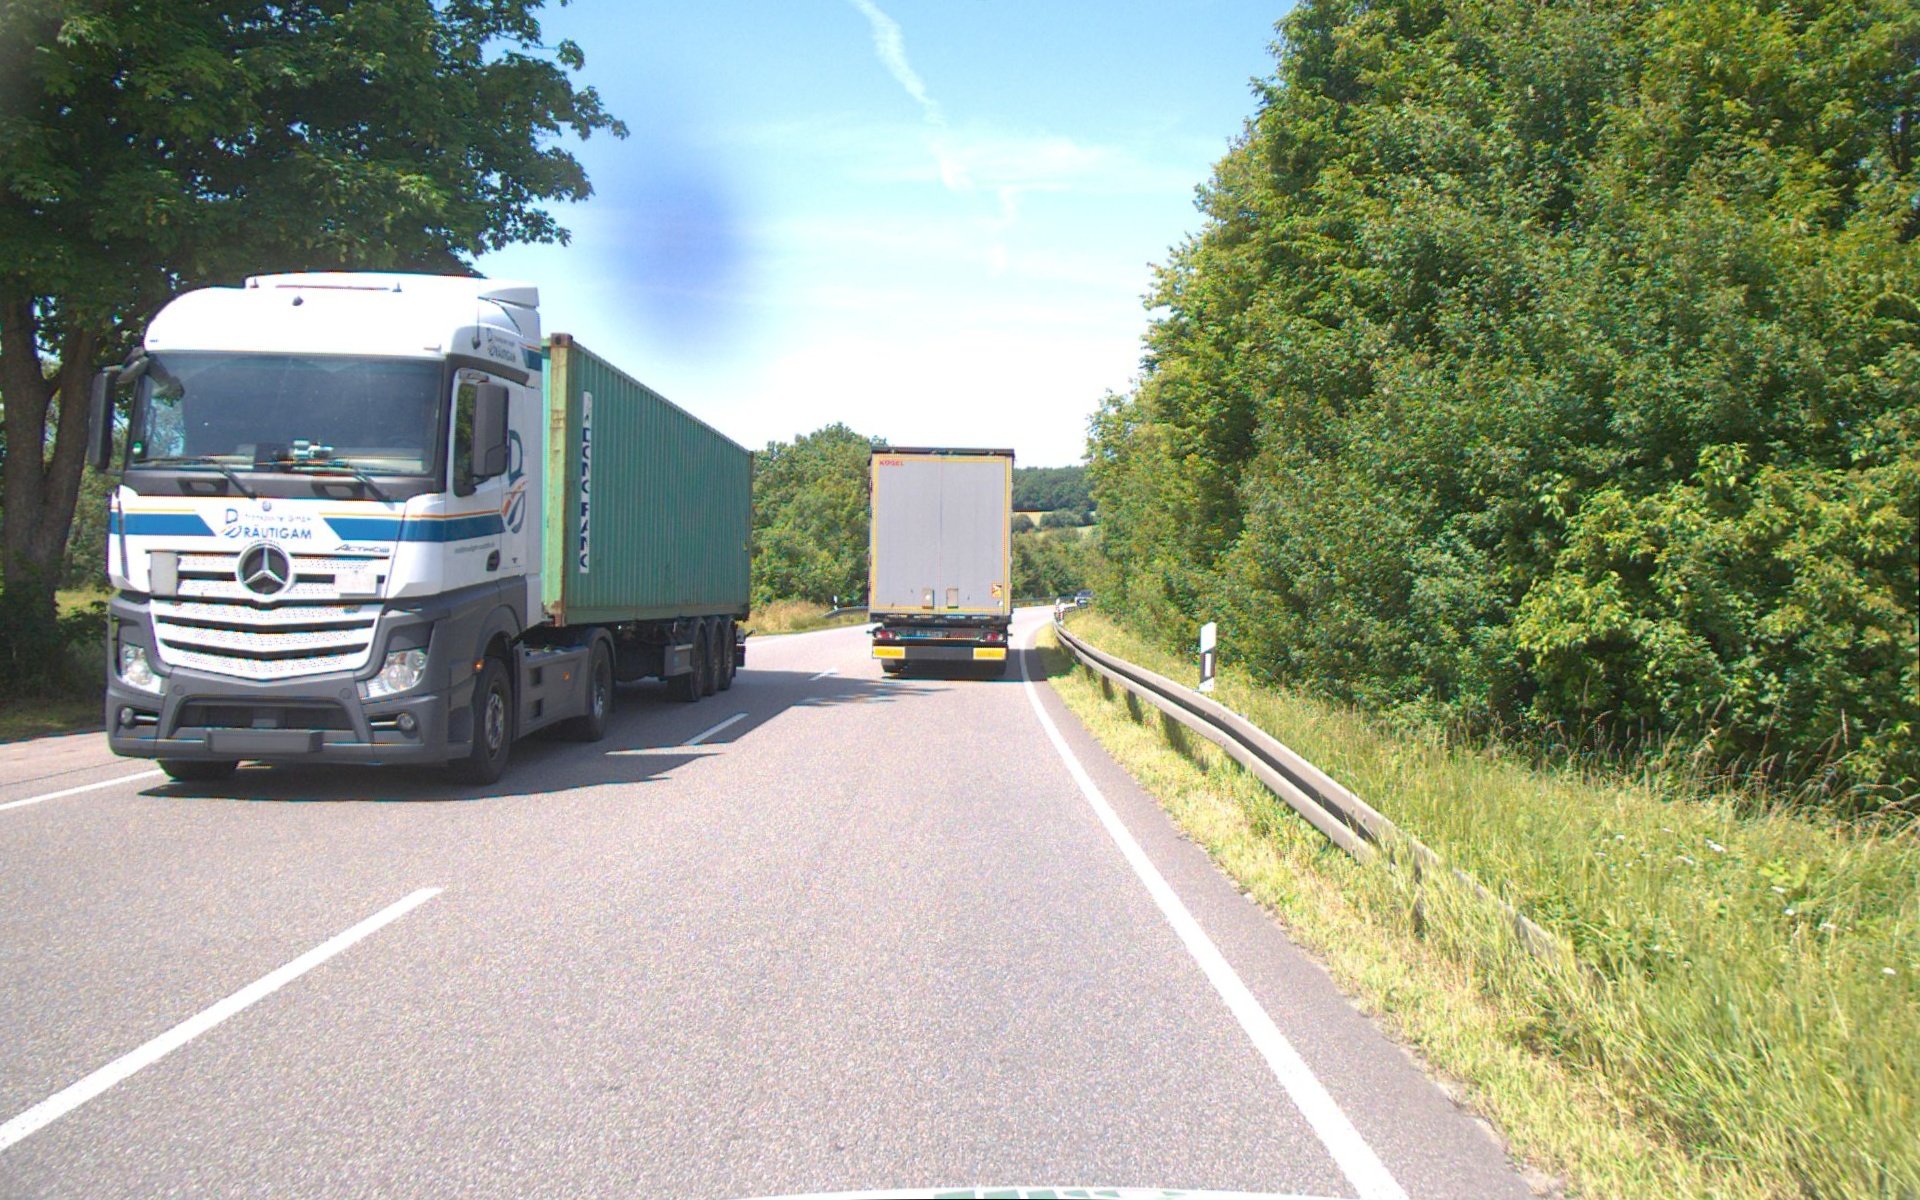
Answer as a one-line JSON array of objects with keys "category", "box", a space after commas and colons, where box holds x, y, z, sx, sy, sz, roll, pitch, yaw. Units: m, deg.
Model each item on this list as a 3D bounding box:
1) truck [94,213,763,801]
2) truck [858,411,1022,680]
[{"category": "truck", "box": [-4.656, -0.714, 19.578, 2.508, 4.008, 16.161, 2, 0, 0]}, {"category": "truck", "box": [-0.276, -0.992, 34.526, 2.759, 4.611, 11.769, 1, 0, 1]}]
